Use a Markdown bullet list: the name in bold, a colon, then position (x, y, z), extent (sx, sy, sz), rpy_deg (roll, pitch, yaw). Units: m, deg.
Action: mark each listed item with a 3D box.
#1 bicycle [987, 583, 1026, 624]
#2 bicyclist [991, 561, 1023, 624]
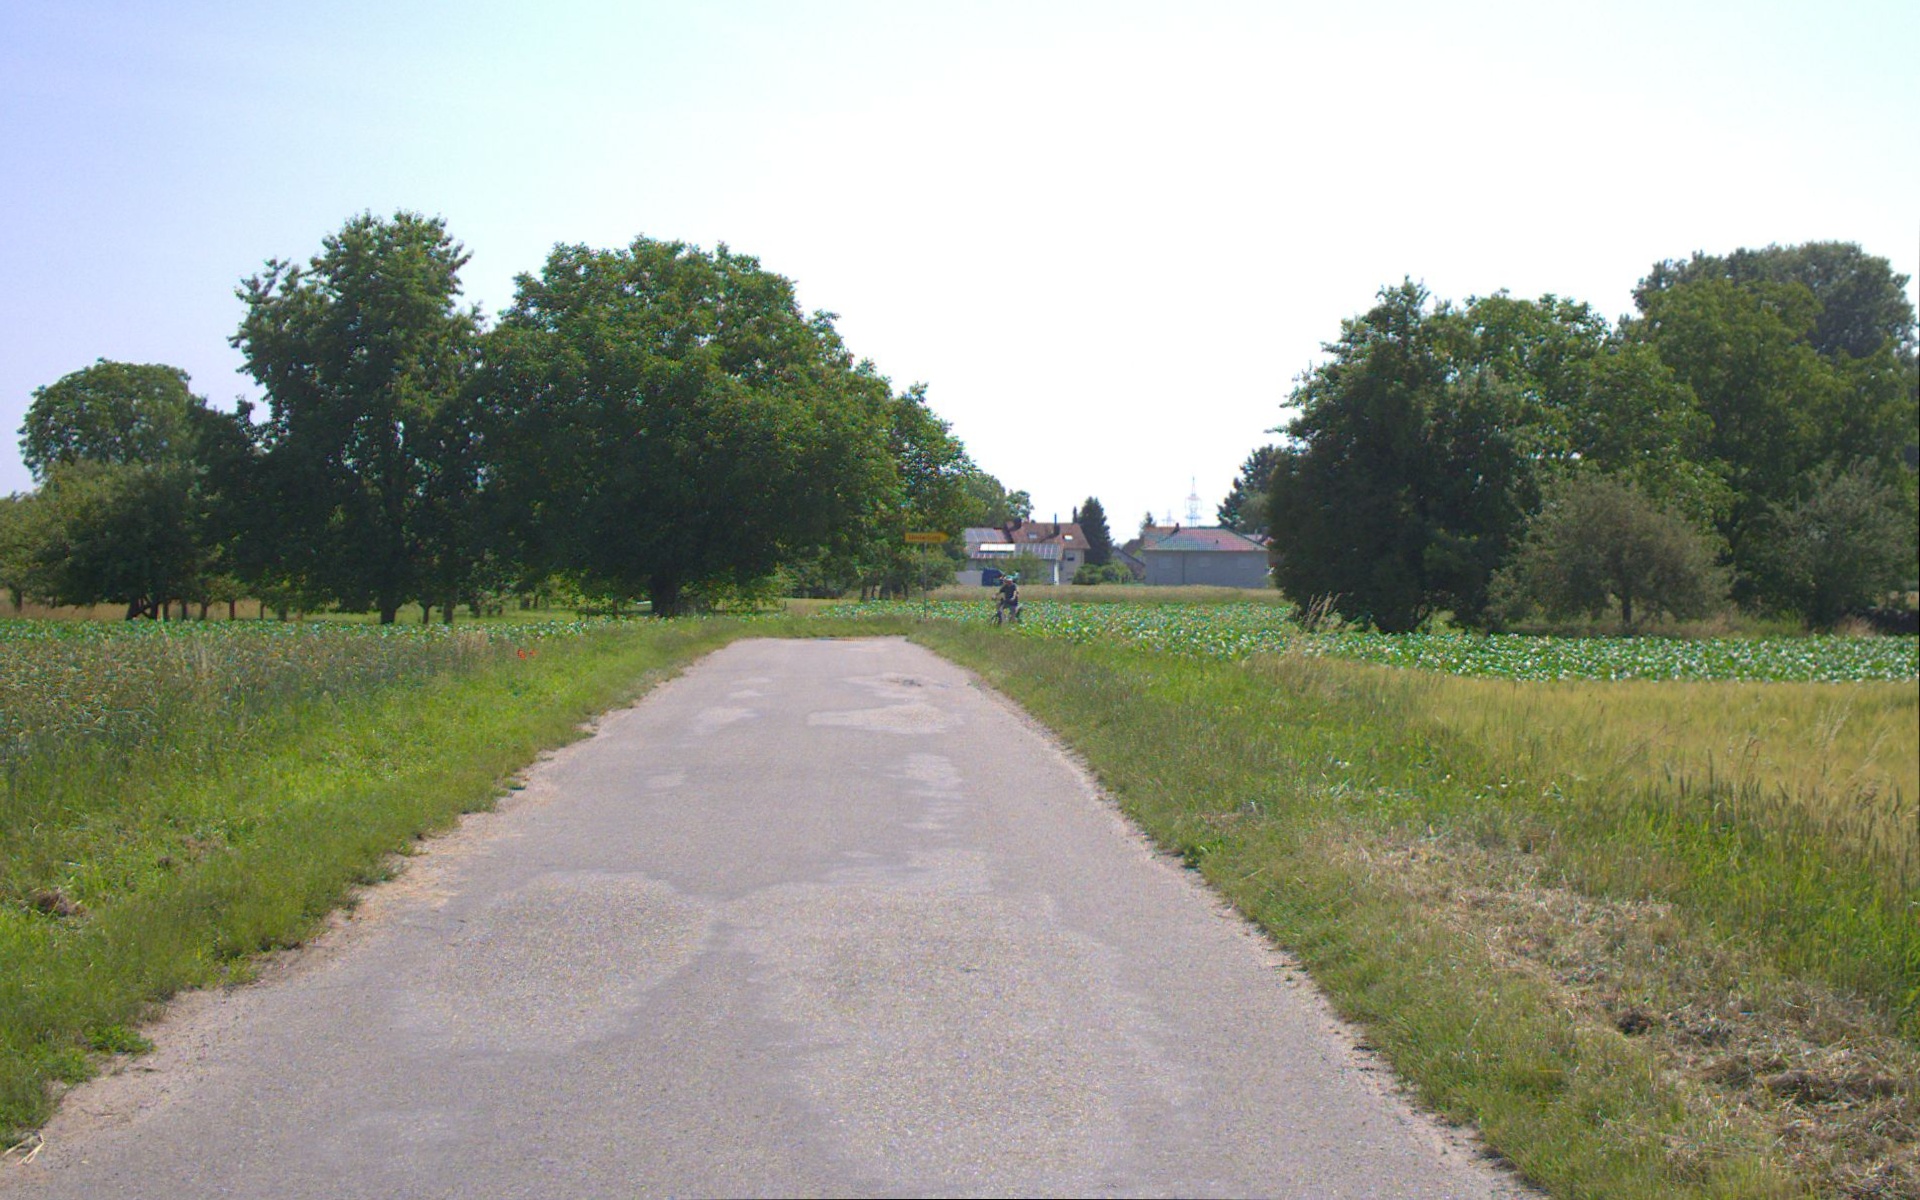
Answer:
- **bicycle**: position (1.349, 0.096, 98.636), extent (0.751, 1.123, 1.907), rpy_deg (-1, 0, 11)
- **bicyclist**: position (1.346, -0.225, 98.640), extent (0.751, 1.785, 0.716), rpy_deg (-1, 0, 11)
